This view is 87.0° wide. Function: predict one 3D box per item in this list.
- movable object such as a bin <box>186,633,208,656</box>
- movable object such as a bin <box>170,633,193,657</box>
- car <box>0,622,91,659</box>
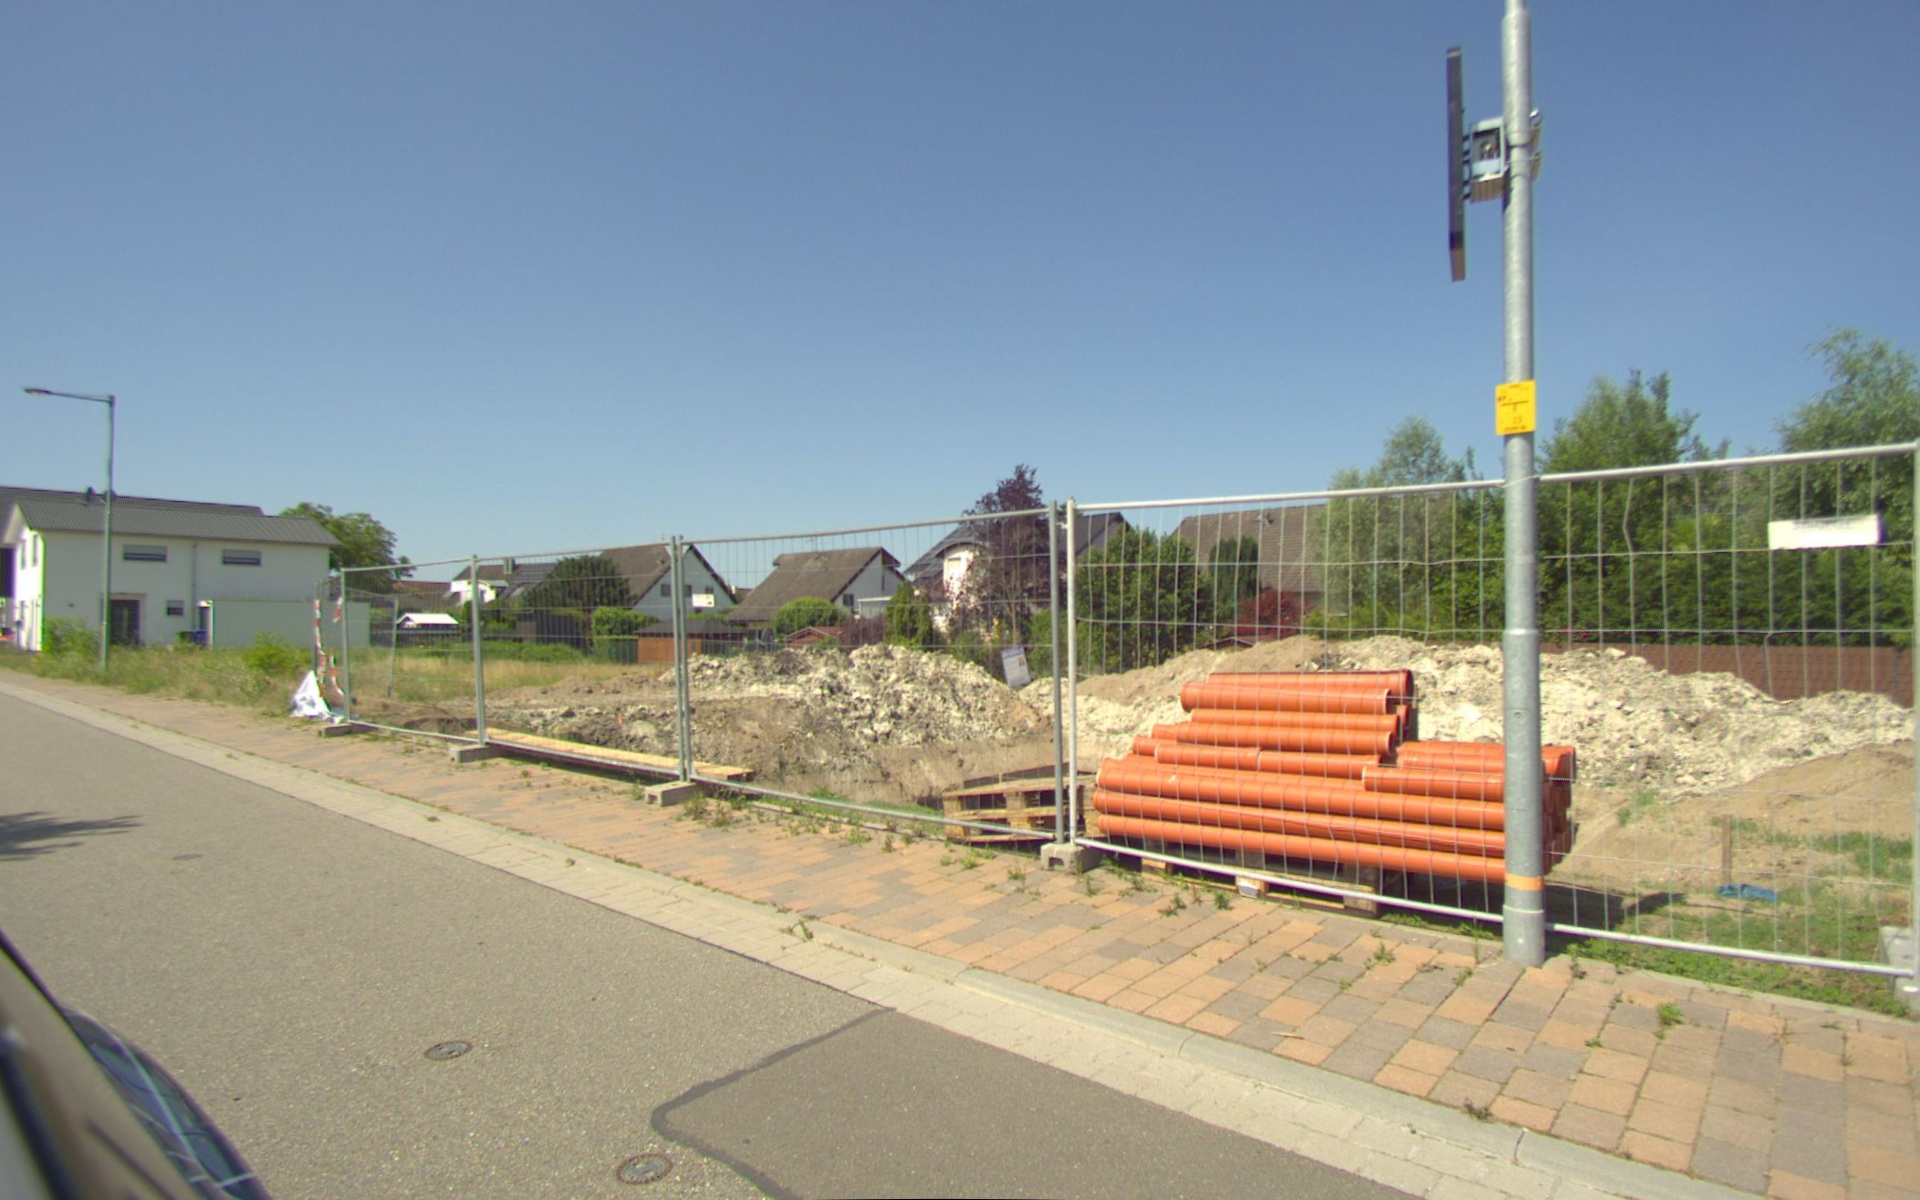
[{"bbox_3d":[-36.592,2.136,48.521,0.807,1.107,0.663,-2,-3,42],"label":"movable object such as a bin"},{"bbox_3d":[-36.896,2.123,47.965,0.784,1.107,0.653,-2,-3,40],"label":"movable object such as a bin"},{"bbox_3d":[-49.229,2.145,53.491,1.936,1.889,4.691,-1,-2,38],"label":"car"}]
